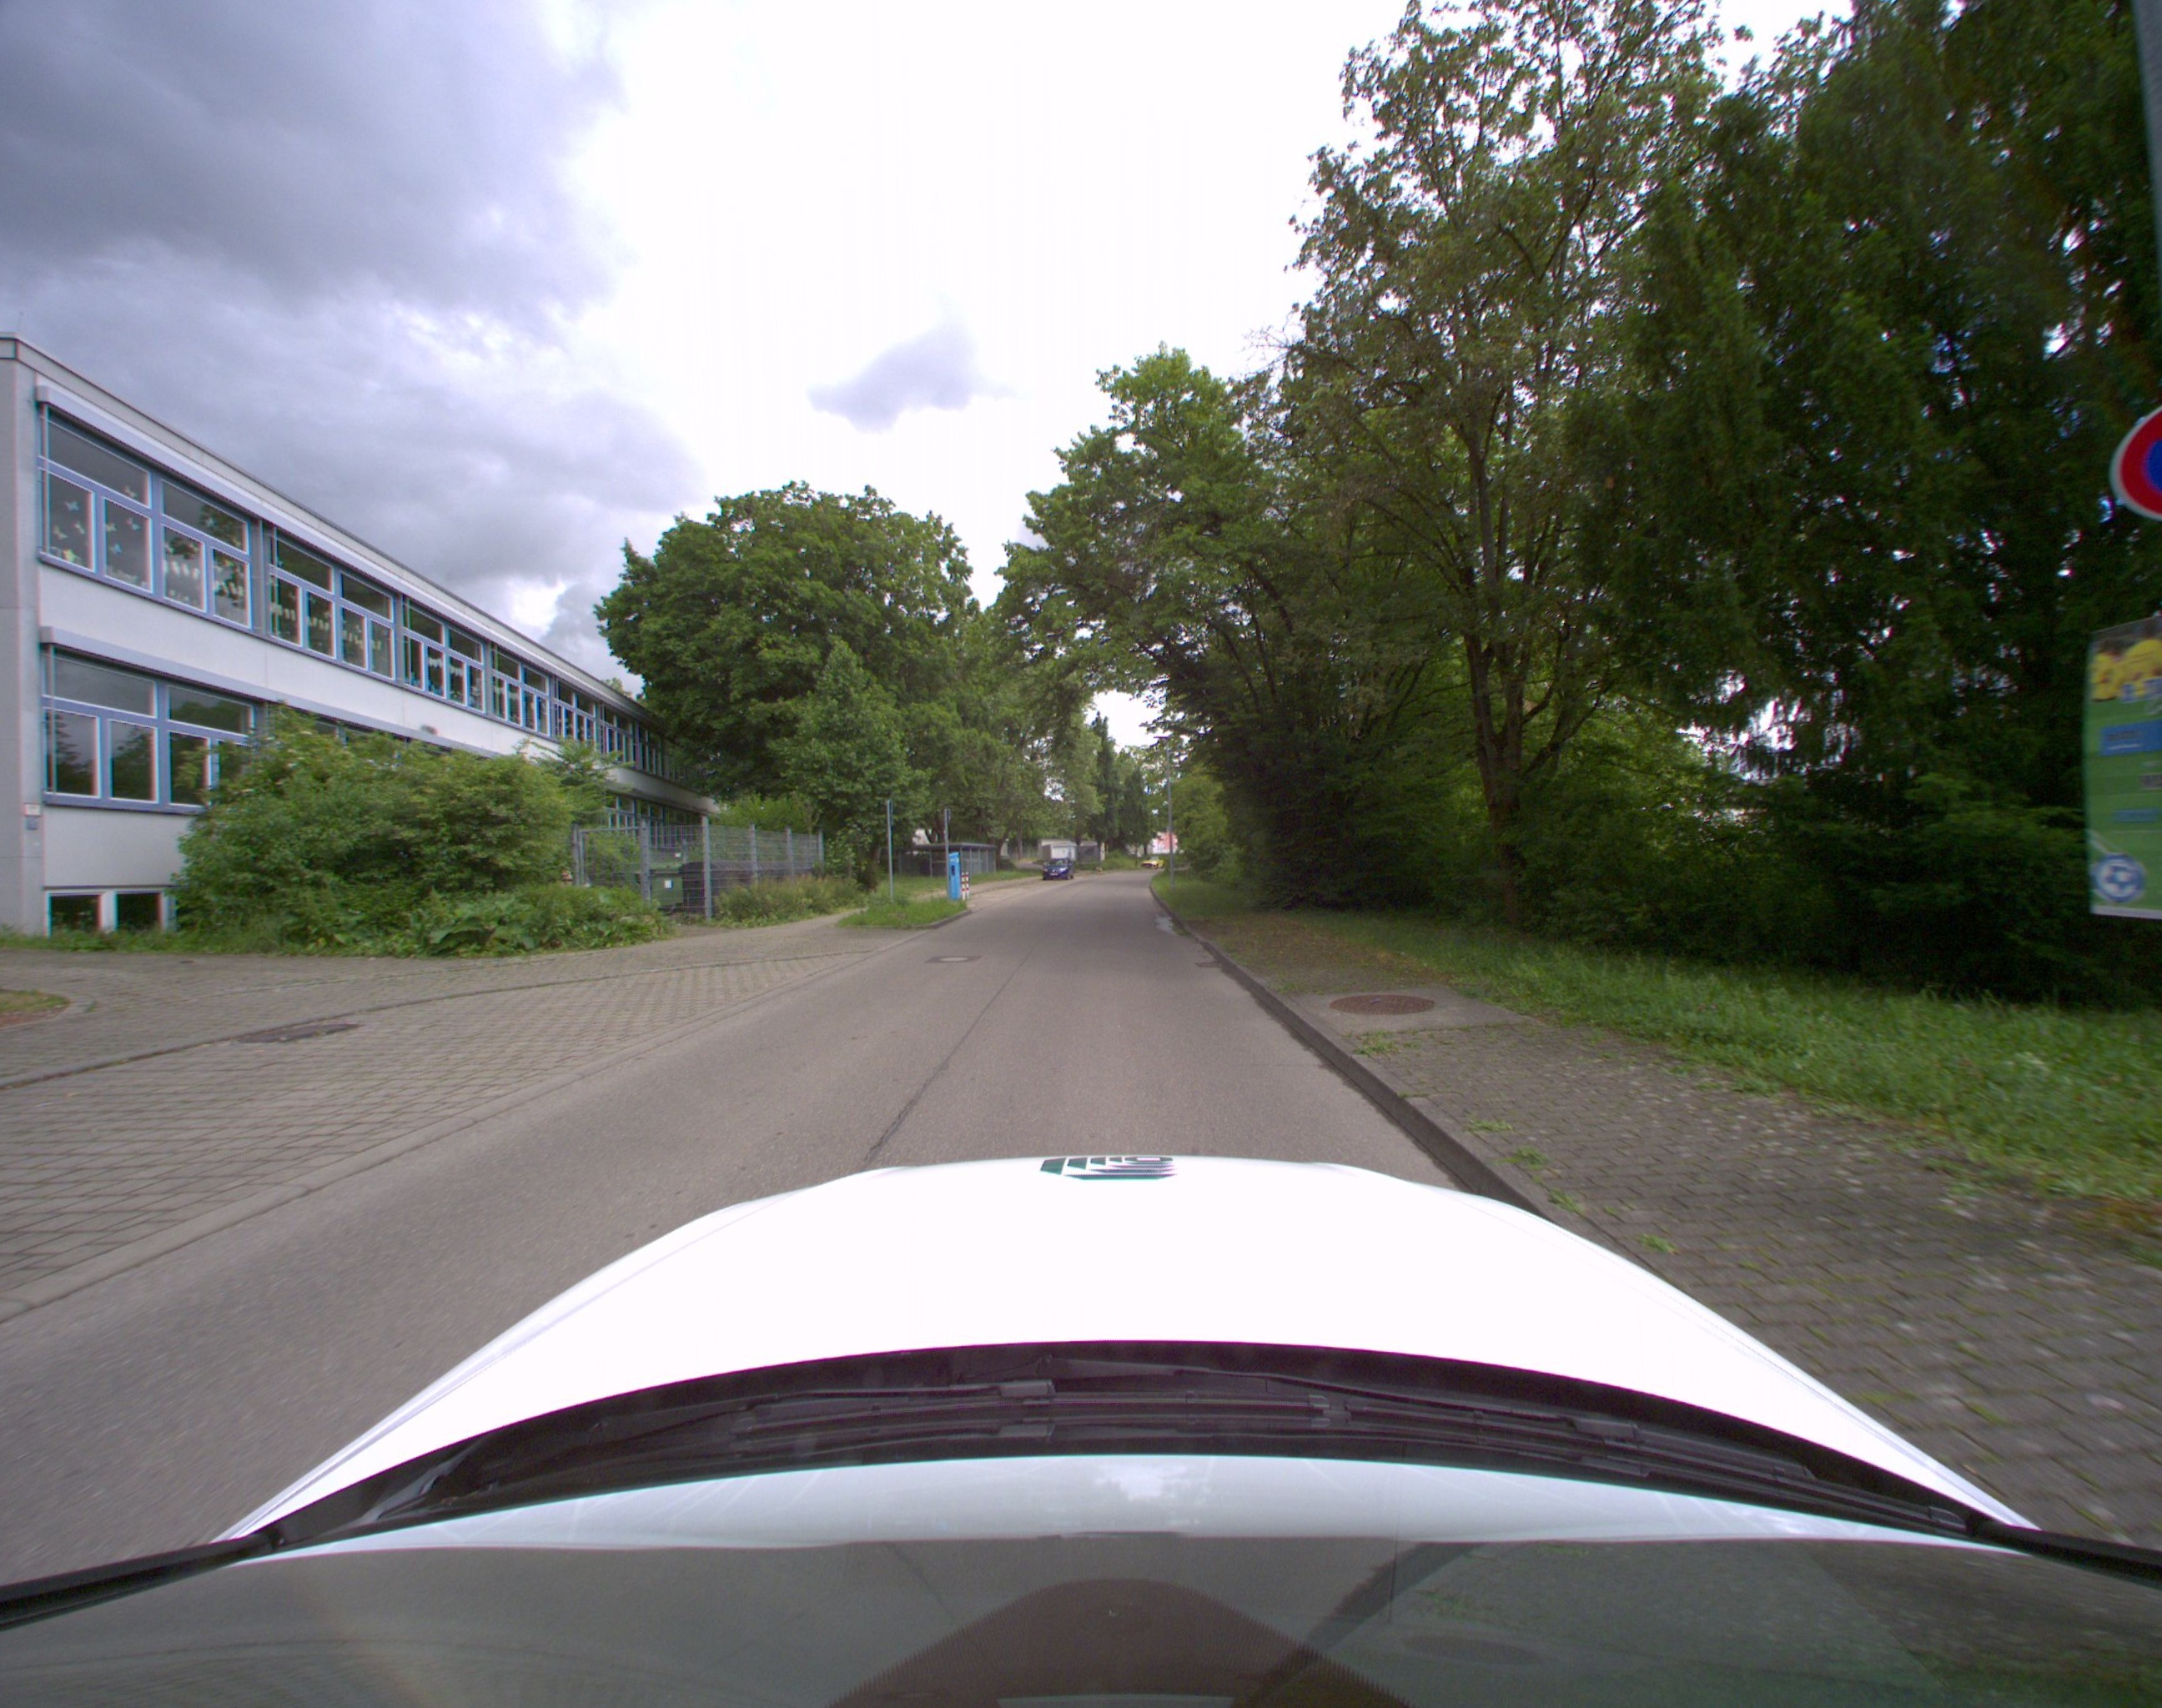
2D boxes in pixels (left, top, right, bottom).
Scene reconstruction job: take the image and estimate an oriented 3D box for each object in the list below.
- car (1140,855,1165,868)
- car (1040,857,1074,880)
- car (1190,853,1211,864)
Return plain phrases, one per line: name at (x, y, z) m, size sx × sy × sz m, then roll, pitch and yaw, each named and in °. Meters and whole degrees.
car at (8.193, 0.881, 93.201) m, size 1.685 × 1.403 × 4.295 m, roll -1°, pitch -1°, yaw 21°
car at (-1.601, 0.974, 55.944) m, size 1.671 × 1.512 × 4.440 m, roll -1°, pitch -1°, yaw 7°
car at (16.109, 0.574, 109.654) m, size 1.519 × 1.459 × 3.743 m, roll -2°, pitch -1°, yaw 28°
